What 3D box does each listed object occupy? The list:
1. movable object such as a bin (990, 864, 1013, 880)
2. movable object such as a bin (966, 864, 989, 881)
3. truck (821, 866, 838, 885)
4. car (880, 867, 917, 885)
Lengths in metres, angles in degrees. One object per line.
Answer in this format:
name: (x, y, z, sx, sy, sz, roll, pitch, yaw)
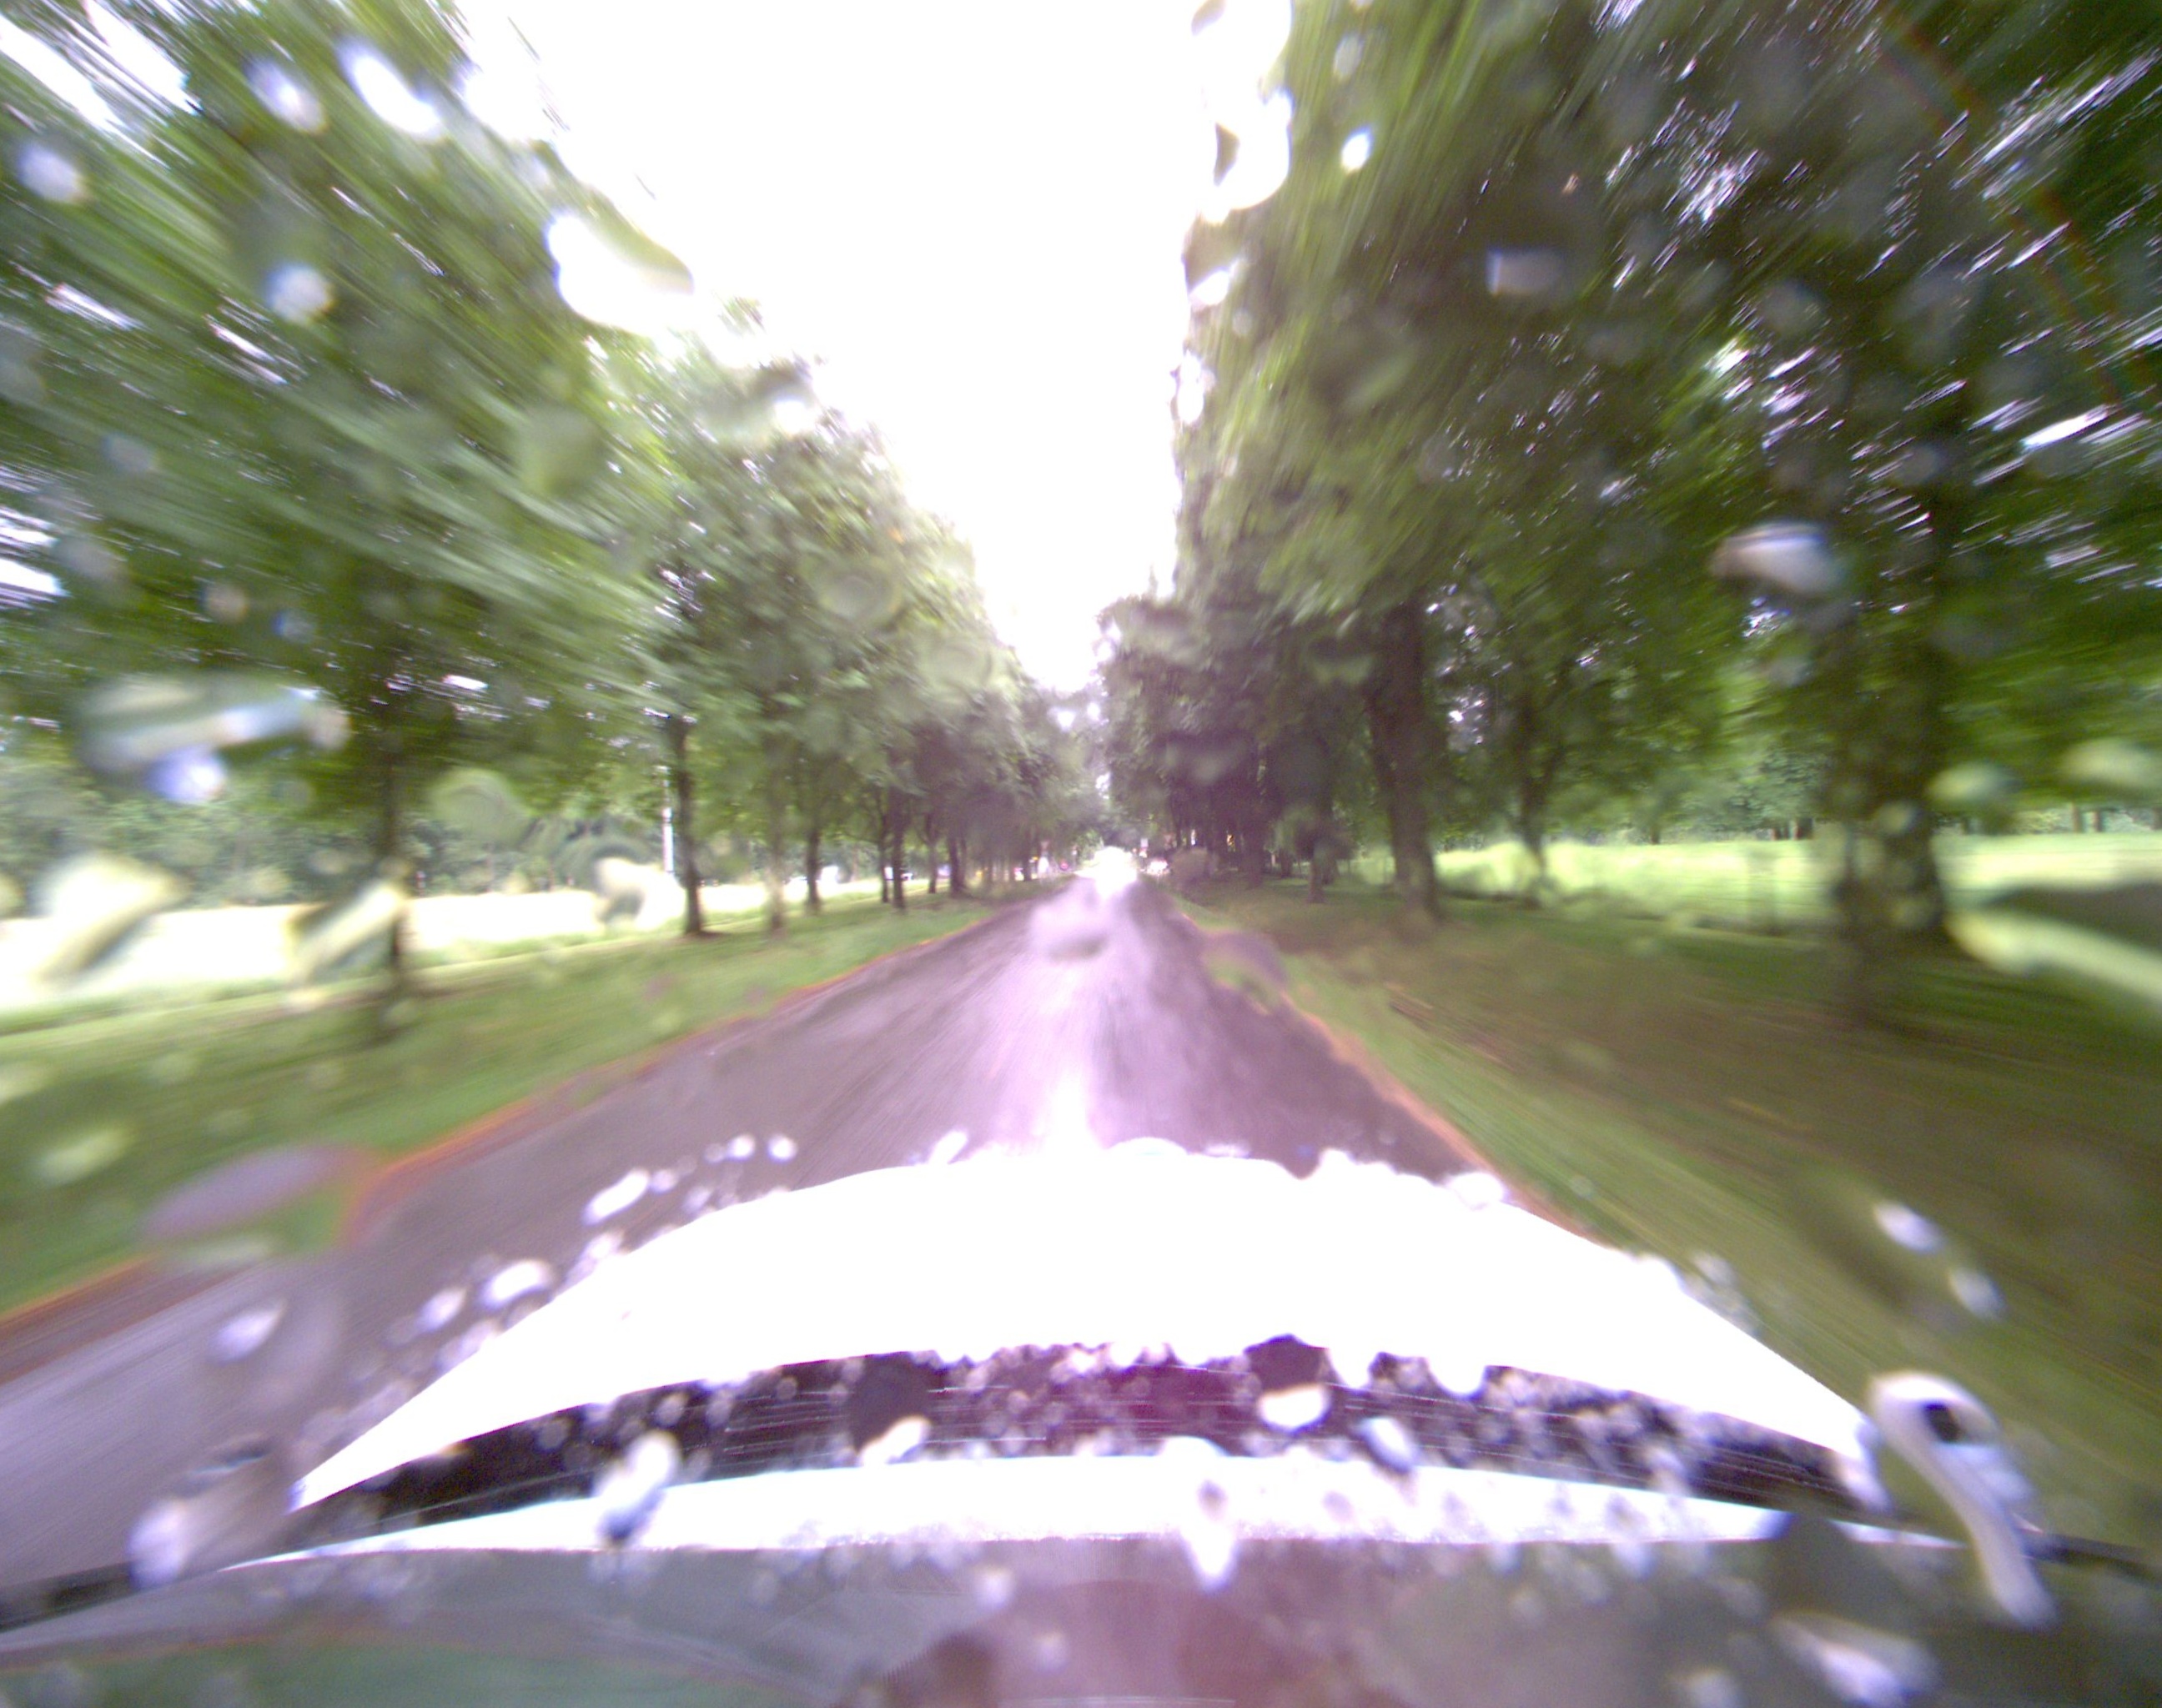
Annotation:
movable object such as a bin: (-17.052, 3.943, 175.207, 4.580, 3.294, 3.655, -2, -1, -9)
movable object such as a bin: (-22.119, 3.930, 173.724, 4.653, 3.294, 3.901, -2, -1, -9)
truck: (-35.016, 2.977, 113.569, 1.871, 2.443, 3.335, -2, -1, -12)
car: (-26.829, 3.264, 119.534, 5.908, 2.408, 2.407, -4, -4, 44)
